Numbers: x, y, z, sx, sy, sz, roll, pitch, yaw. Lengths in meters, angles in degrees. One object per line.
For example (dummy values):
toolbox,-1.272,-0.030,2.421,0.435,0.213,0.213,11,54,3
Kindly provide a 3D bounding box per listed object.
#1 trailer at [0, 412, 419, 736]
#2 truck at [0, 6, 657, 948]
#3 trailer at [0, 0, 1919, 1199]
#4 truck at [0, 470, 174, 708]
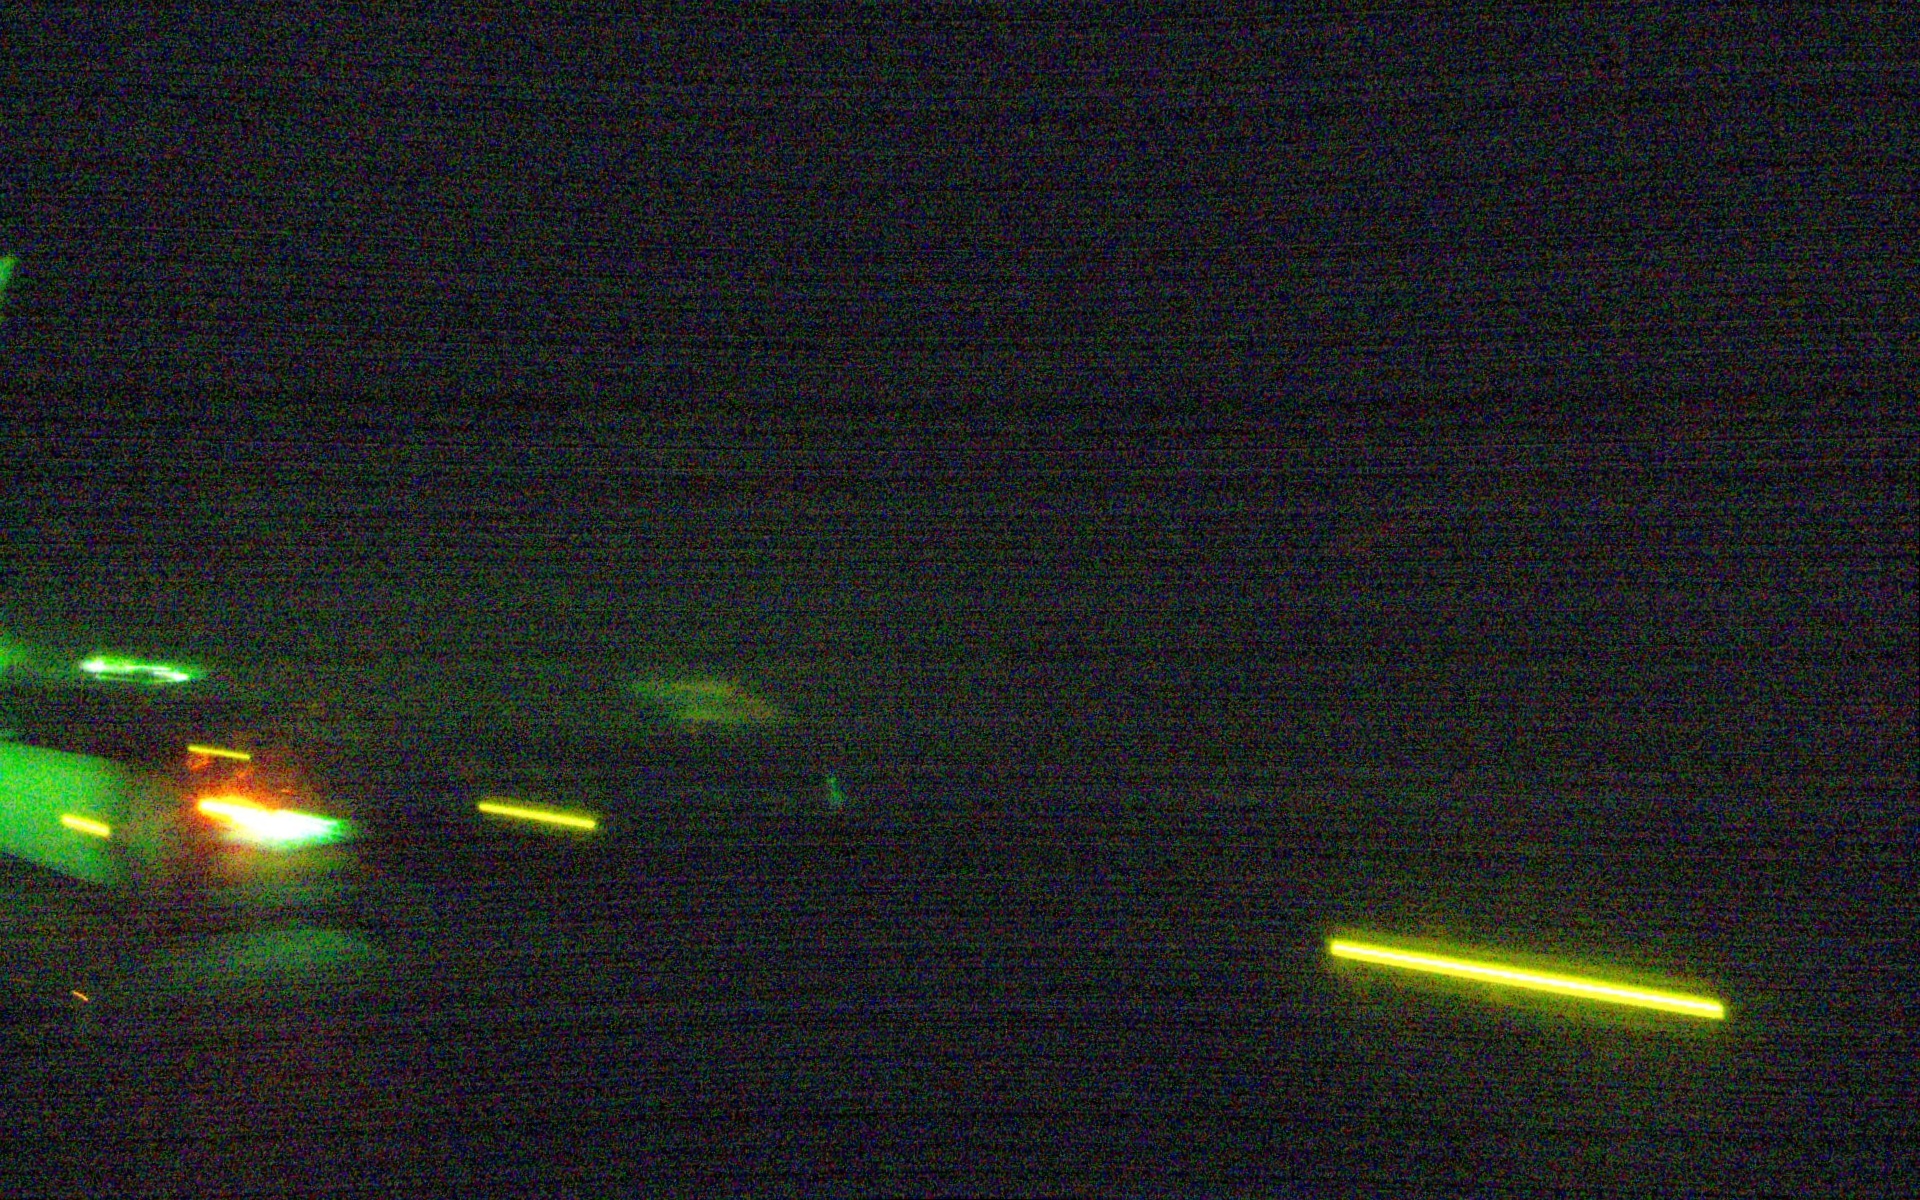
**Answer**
trailer,-12.961,-0.202,16.501,9.865,4.123,2.587,-1,-2,32
truck,-5.574,-0.470,7.423,6.626,4.259,2.658,-1,-2,32
trailer,0.233,-0.574,3.776,13.317,4.259,2.738,-1,-2,32
truck,-19.268,-0.080,20.474,7.564,4.123,2.587,-1,-2,32
